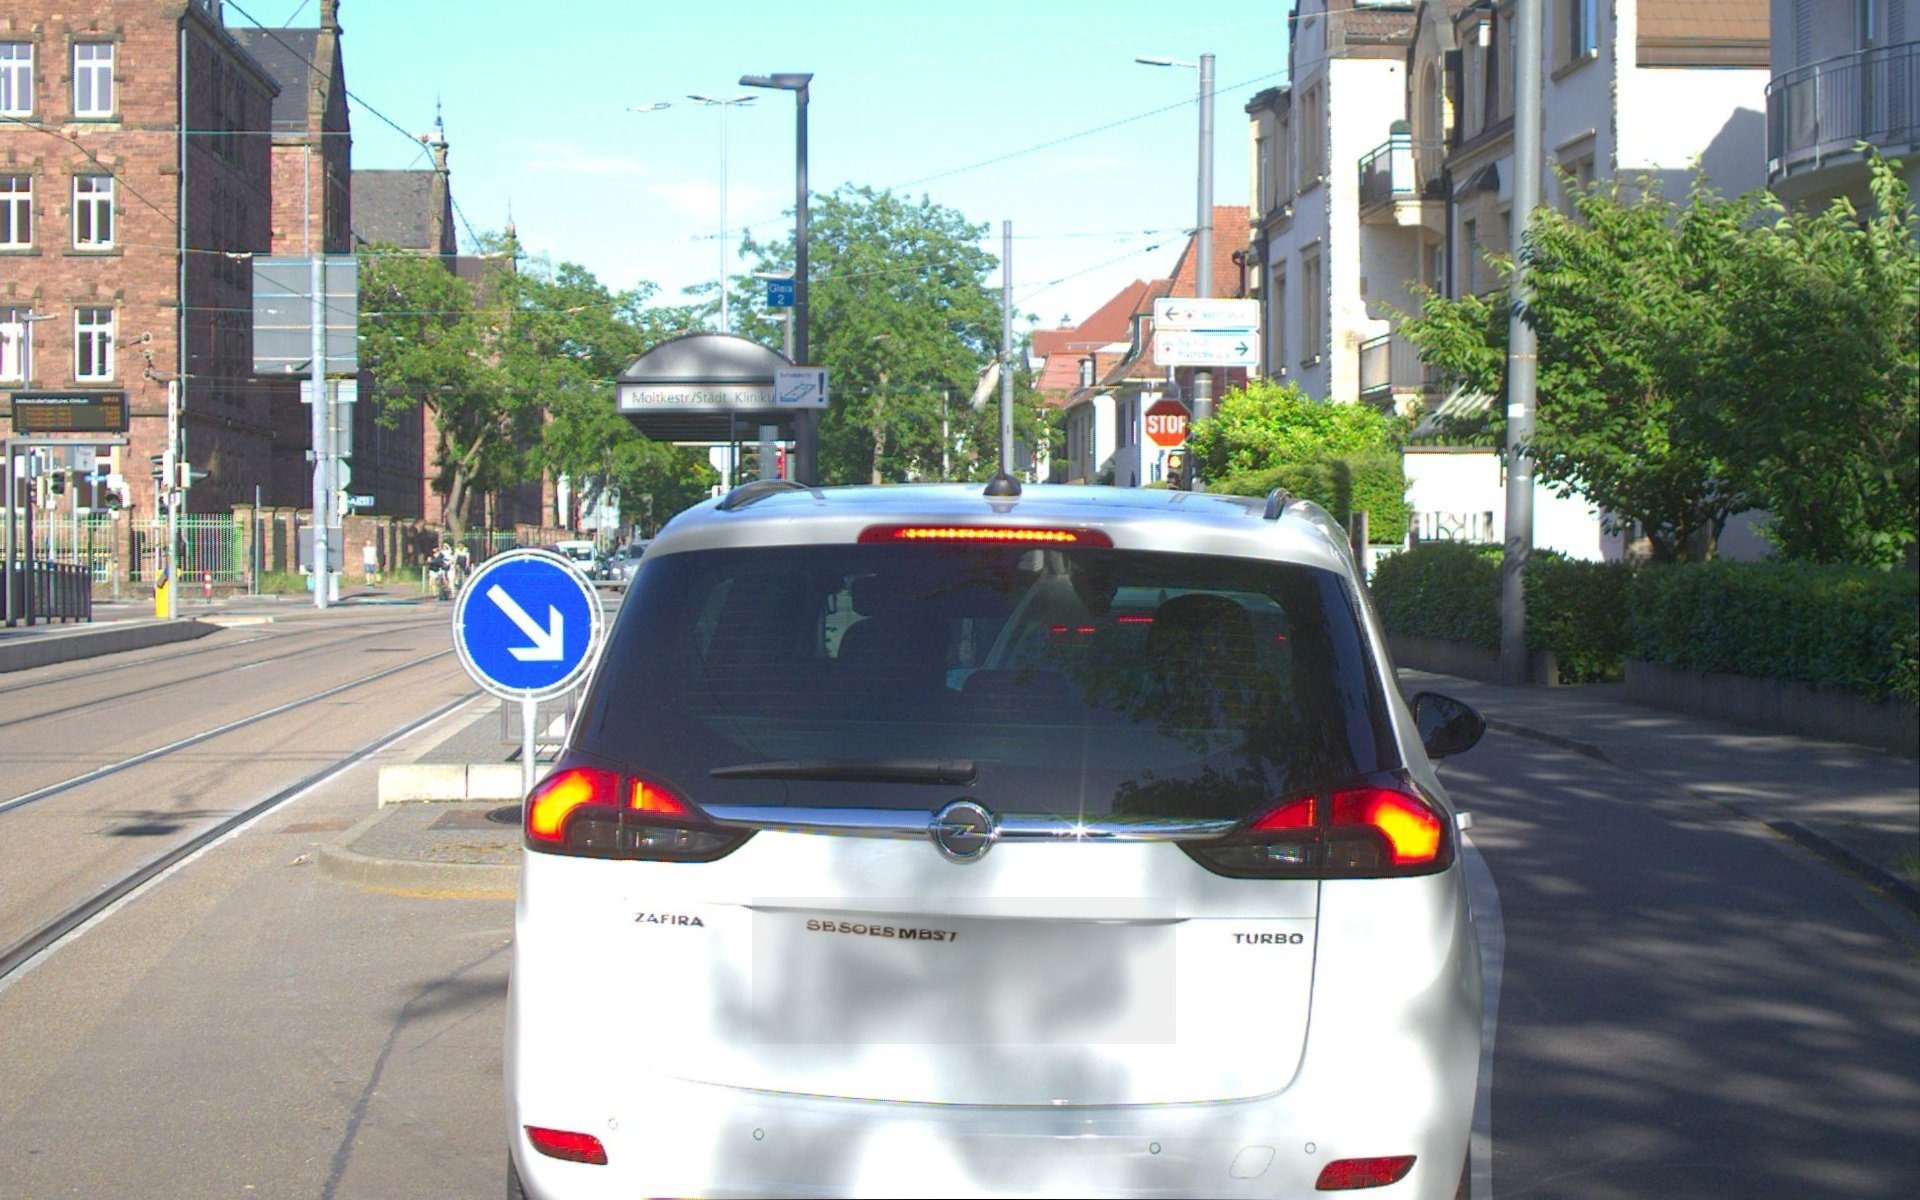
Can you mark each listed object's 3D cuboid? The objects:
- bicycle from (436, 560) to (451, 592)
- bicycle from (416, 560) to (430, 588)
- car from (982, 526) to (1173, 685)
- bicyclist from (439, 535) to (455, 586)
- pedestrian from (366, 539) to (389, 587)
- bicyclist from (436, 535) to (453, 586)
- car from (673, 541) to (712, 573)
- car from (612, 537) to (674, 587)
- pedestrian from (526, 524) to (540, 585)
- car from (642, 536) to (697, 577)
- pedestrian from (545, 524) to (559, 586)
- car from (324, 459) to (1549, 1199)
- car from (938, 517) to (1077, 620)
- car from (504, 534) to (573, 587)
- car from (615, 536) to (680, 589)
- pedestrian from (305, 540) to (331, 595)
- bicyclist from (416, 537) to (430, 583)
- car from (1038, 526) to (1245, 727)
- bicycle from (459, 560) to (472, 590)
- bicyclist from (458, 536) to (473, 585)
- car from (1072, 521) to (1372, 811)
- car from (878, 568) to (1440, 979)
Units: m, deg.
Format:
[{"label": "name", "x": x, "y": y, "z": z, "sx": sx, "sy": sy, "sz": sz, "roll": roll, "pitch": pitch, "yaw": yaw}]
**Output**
[{"label": "bicycle", "x": -15.482, "y": -0.719, "z": 103.084, "sx": 0.344, "sy": 0.946, "sz": 1.160, "roll": 1, "pitch": 0, "yaw": -4}, {"label": "bicycle", "x": -17.986, "y": -0.875, "z": 115.141, "sx": 0.344, "sy": 0.946, "sz": 0.997, "roll": 1, "pitch": 0, "yaw": -4}, {"label": "car", "x": 1.182, "y": 0.021, "z": 36.182, "sx": 1.830, "sy": 1.574, "sz": 4.010, "roll": 0, "pitch": 1, "yaw": -1}, {"label": "bicyclist", "x": -15.892, "y": -1.225, "z": 106.566, "sx": 0.444, "sy": 1.548, "sz": 0.496, "roll": 0, "pitch": 1, "yaw": -4}, {"label": "pedestrian", "x": -20.986, "y": -1.334, "z": 123.803, "sx": 0.734, "sy": 1.708, "sz": 0.754, "roll": 1, "pitch": 0, "yaw": -6}, {"label": "bicyclist", "x": -15.473, "y": -1.188, "z": 103.284, "sx": 0.444, "sy": 1.548, "sz": 0.743, "roll": 0, "pitch": 1, "yaw": -4}, {"label": "car", "x": -14.056, "y": -2.258, "z": 180.297, "sx": 1.993, "sy": 1.623, "sz": 3.989, "roll": 0, "pitch": 1, "yaw": -5}, {"label": "car", "x": -10.533, "y": -1.277, "z": 114.418, "sx": 1.993, "sy": 1.623, "sz": 4.001, "roll": 0, "pitch": 1, "yaw": -5}, {"label": "pedestrian", "x": -13.907, "y": -1.482, "z": 111.971, "sx": 0.444, "sy": 2.007, "sz": 0.496, "roll": 0, "pitch": 1, "yaw": -4}, {"label": "car", "x": -11.620, "y": -1.744, "z": 137.645, "sx": 1.993, "sy": 1.623, "sz": 4.001, "roll": 0, "pitch": 1, "yaw": -2}, {"label": "pedestrian", "x": -13.313, "y": -1.477, "z": 112.248, "sx": 0.444, "sy": 2.007, "sz": 0.496, "roll": 0, "pitch": 1, "yaw": -4}, {"label": "car", "x": 0.145, "y": 0.580, "z": 7.604, "sx": 1.994, "sy": 1.639, "sz": 3.992, "roll": 1, "pitch": 1, "yaw": 6}, {"label": "car", "x": 0.671, "y": -0.493, "z": 51.762, "sx": 1.993, "sy": 1.497, "sz": 4.000, "roll": 0, "pitch": 1, "yaw": -1}, {"label": "car", "x": -13.116, "y": -1.230, "z": 107.088, "sx": 1.993, "sy": 1.623, "sz": 4.001, "roll": 0, "pitch": 1, "yaw": -5}, {"label": "car", "x": -9.735, "y": -1.194, "z": 107.312, "sx": 1.993, "sy": 1.623, "sz": 4.001, "roll": 0, "pitch": 1, "yaw": -5}, {"label": "pedestrian", "x": -20.012, "y": -1.016, "z": 107.239, "sx": 0.734, "sy": 1.708, "sz": 0.706, "roll": 1, "pitch": 0, "yaw": -7}, {"label": "bicyclist", "x": -17.981, "y": -1.341, "z": 115.097, "sx": 0.444, "sy": 1.548, "sz": 0.496, "roll": 0, "pitch": 1, "yaw": -4}, {"label": "car", "x": 1.500, "y": 0.175, "z": 29.258, "sx": 1.637, "sy": 1.595, "sz": 3.854, "roll": 0, "pitch": 1, "yaw": 2}, {"label": "bicycle", "x": -15.697, "y": -0.784, "z": 109.166, "sx": 0.344, "sy": 0.946, "sz": 0.997, "roll": 1, "pitch": 0, "yaw": -4}, {"label": "bicyclist", "x": -15.688, "y": -1.249, "z": 109.151, "sx": 0.444, "sy": 1.548, "sz": 0.496, "roll": 0, "pitch": 1, "yaw": -4}, {"label": "car", "x": 1.499, "y": 0.327, "z": 20.830, "sx": 1.637, "sy": 1.595, "sz": 3.854, "roll": 0, "pitch": 1, "yaw": 2}, {"label": "car", "x": 0.752, "y": 0.586, "z": 13.985, "sx": 1.953, "sy": 1.392, "sz": 4.000, "roll": 0, "pitch": 1, "yaw": 2}]
